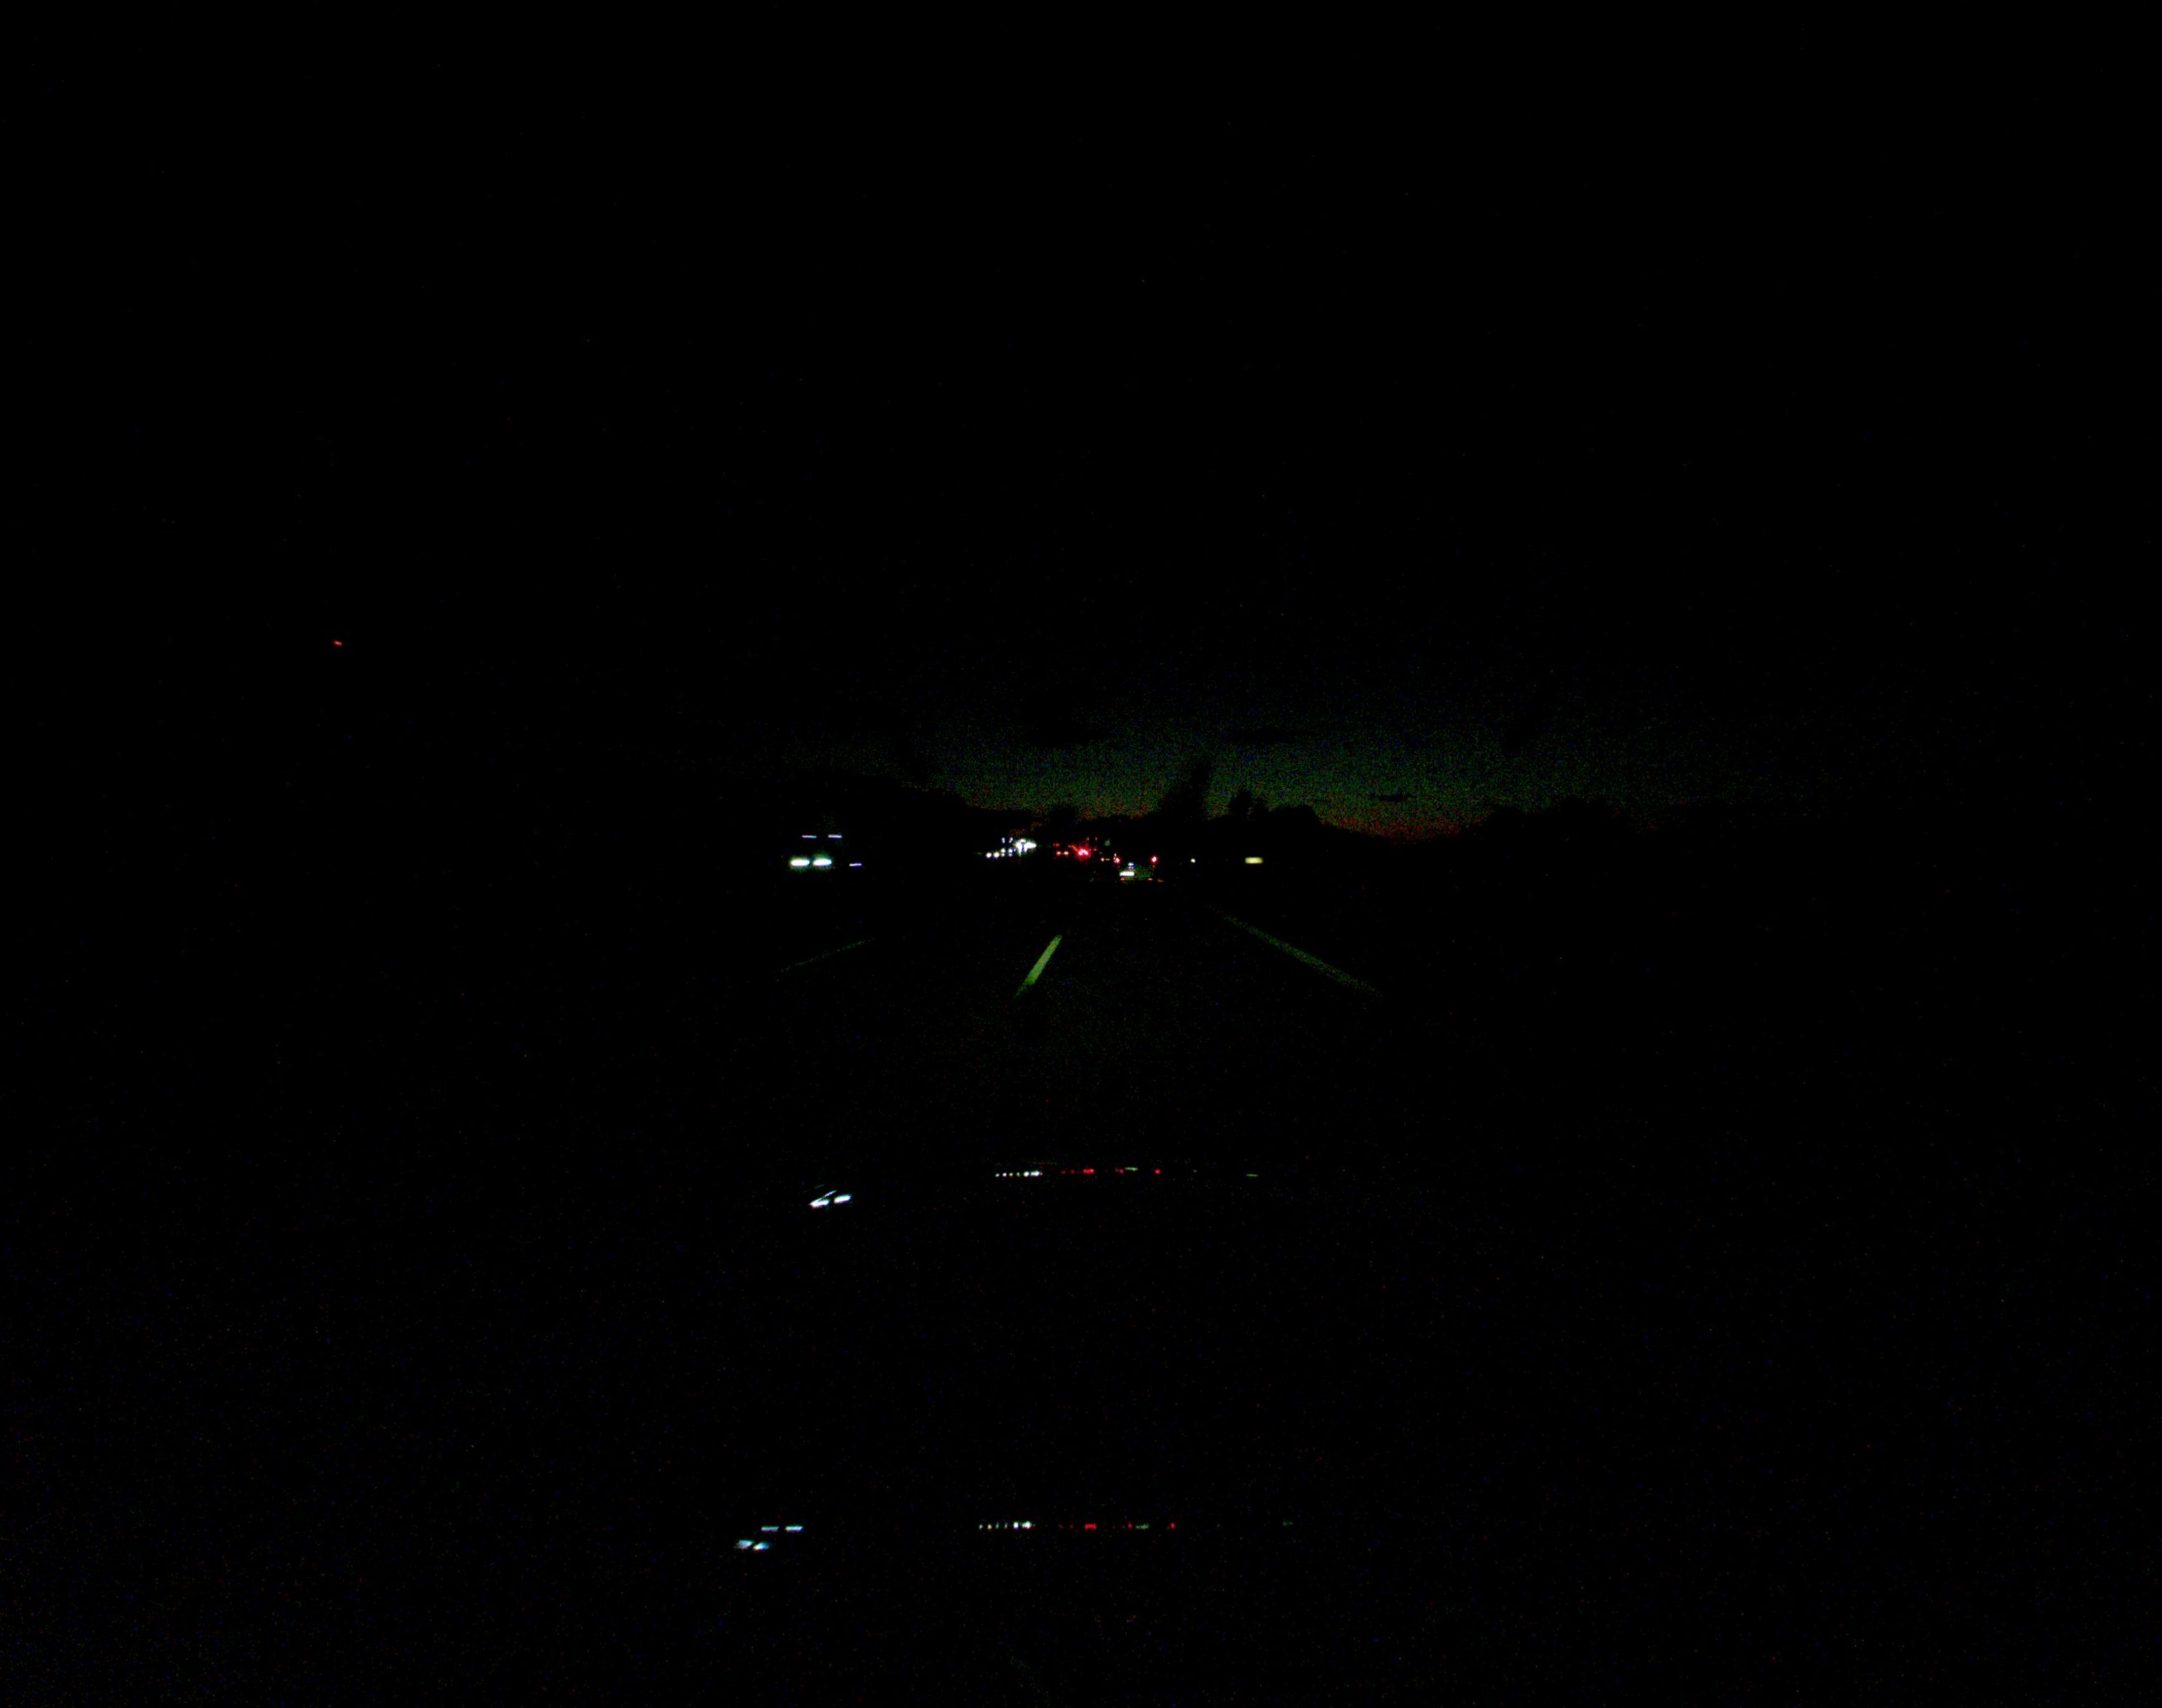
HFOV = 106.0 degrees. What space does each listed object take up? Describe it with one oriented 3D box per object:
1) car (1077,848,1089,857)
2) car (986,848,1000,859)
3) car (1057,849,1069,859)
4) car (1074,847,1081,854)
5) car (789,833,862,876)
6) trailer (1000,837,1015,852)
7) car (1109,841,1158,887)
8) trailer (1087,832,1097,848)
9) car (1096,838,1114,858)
[{"bbox_3d":[0.439,-0.289,165.398,1.990,1.794,3.993,-1,-1,-5],"label":"car"},{"bbox_3d":[-15.205,-0.087,140.760,1.816,1.694,4.673,-1,-1,1],"label":"car"},{"bbox_3d":[-3.168,0.016,144.475,1.987,1.816,3.998,-1,-1,-1],"label":"car"},{"bbox_3d":[-1.001,-0.920,223.800,1.988,1.794,3.997,-1,-1,-2],"label":"car"},{"bbox_3d":[-19.700,-0.024,63.348,2.641,3.085,8.221,0,1,3],"label":"car"},{"bbox_3d":[-19.983,-2.569,223.038,3.419,3.980,7.351,-1,1,0],"label":"trailer"},{"bbox_3d":[2.401,0.408,38.479,2.107,2.000,5.666,-1,1,2],"label":"car"},{"bbox_3d":[3.306,-4.190,245.911,2.820,4.257,17.042,-1,-1,0],"label":"trailer"},{"bbox_3d":[3.404,-0.882,115.760,2.027,2.646,5.719,-1,1,-3],"label":"car"}]
